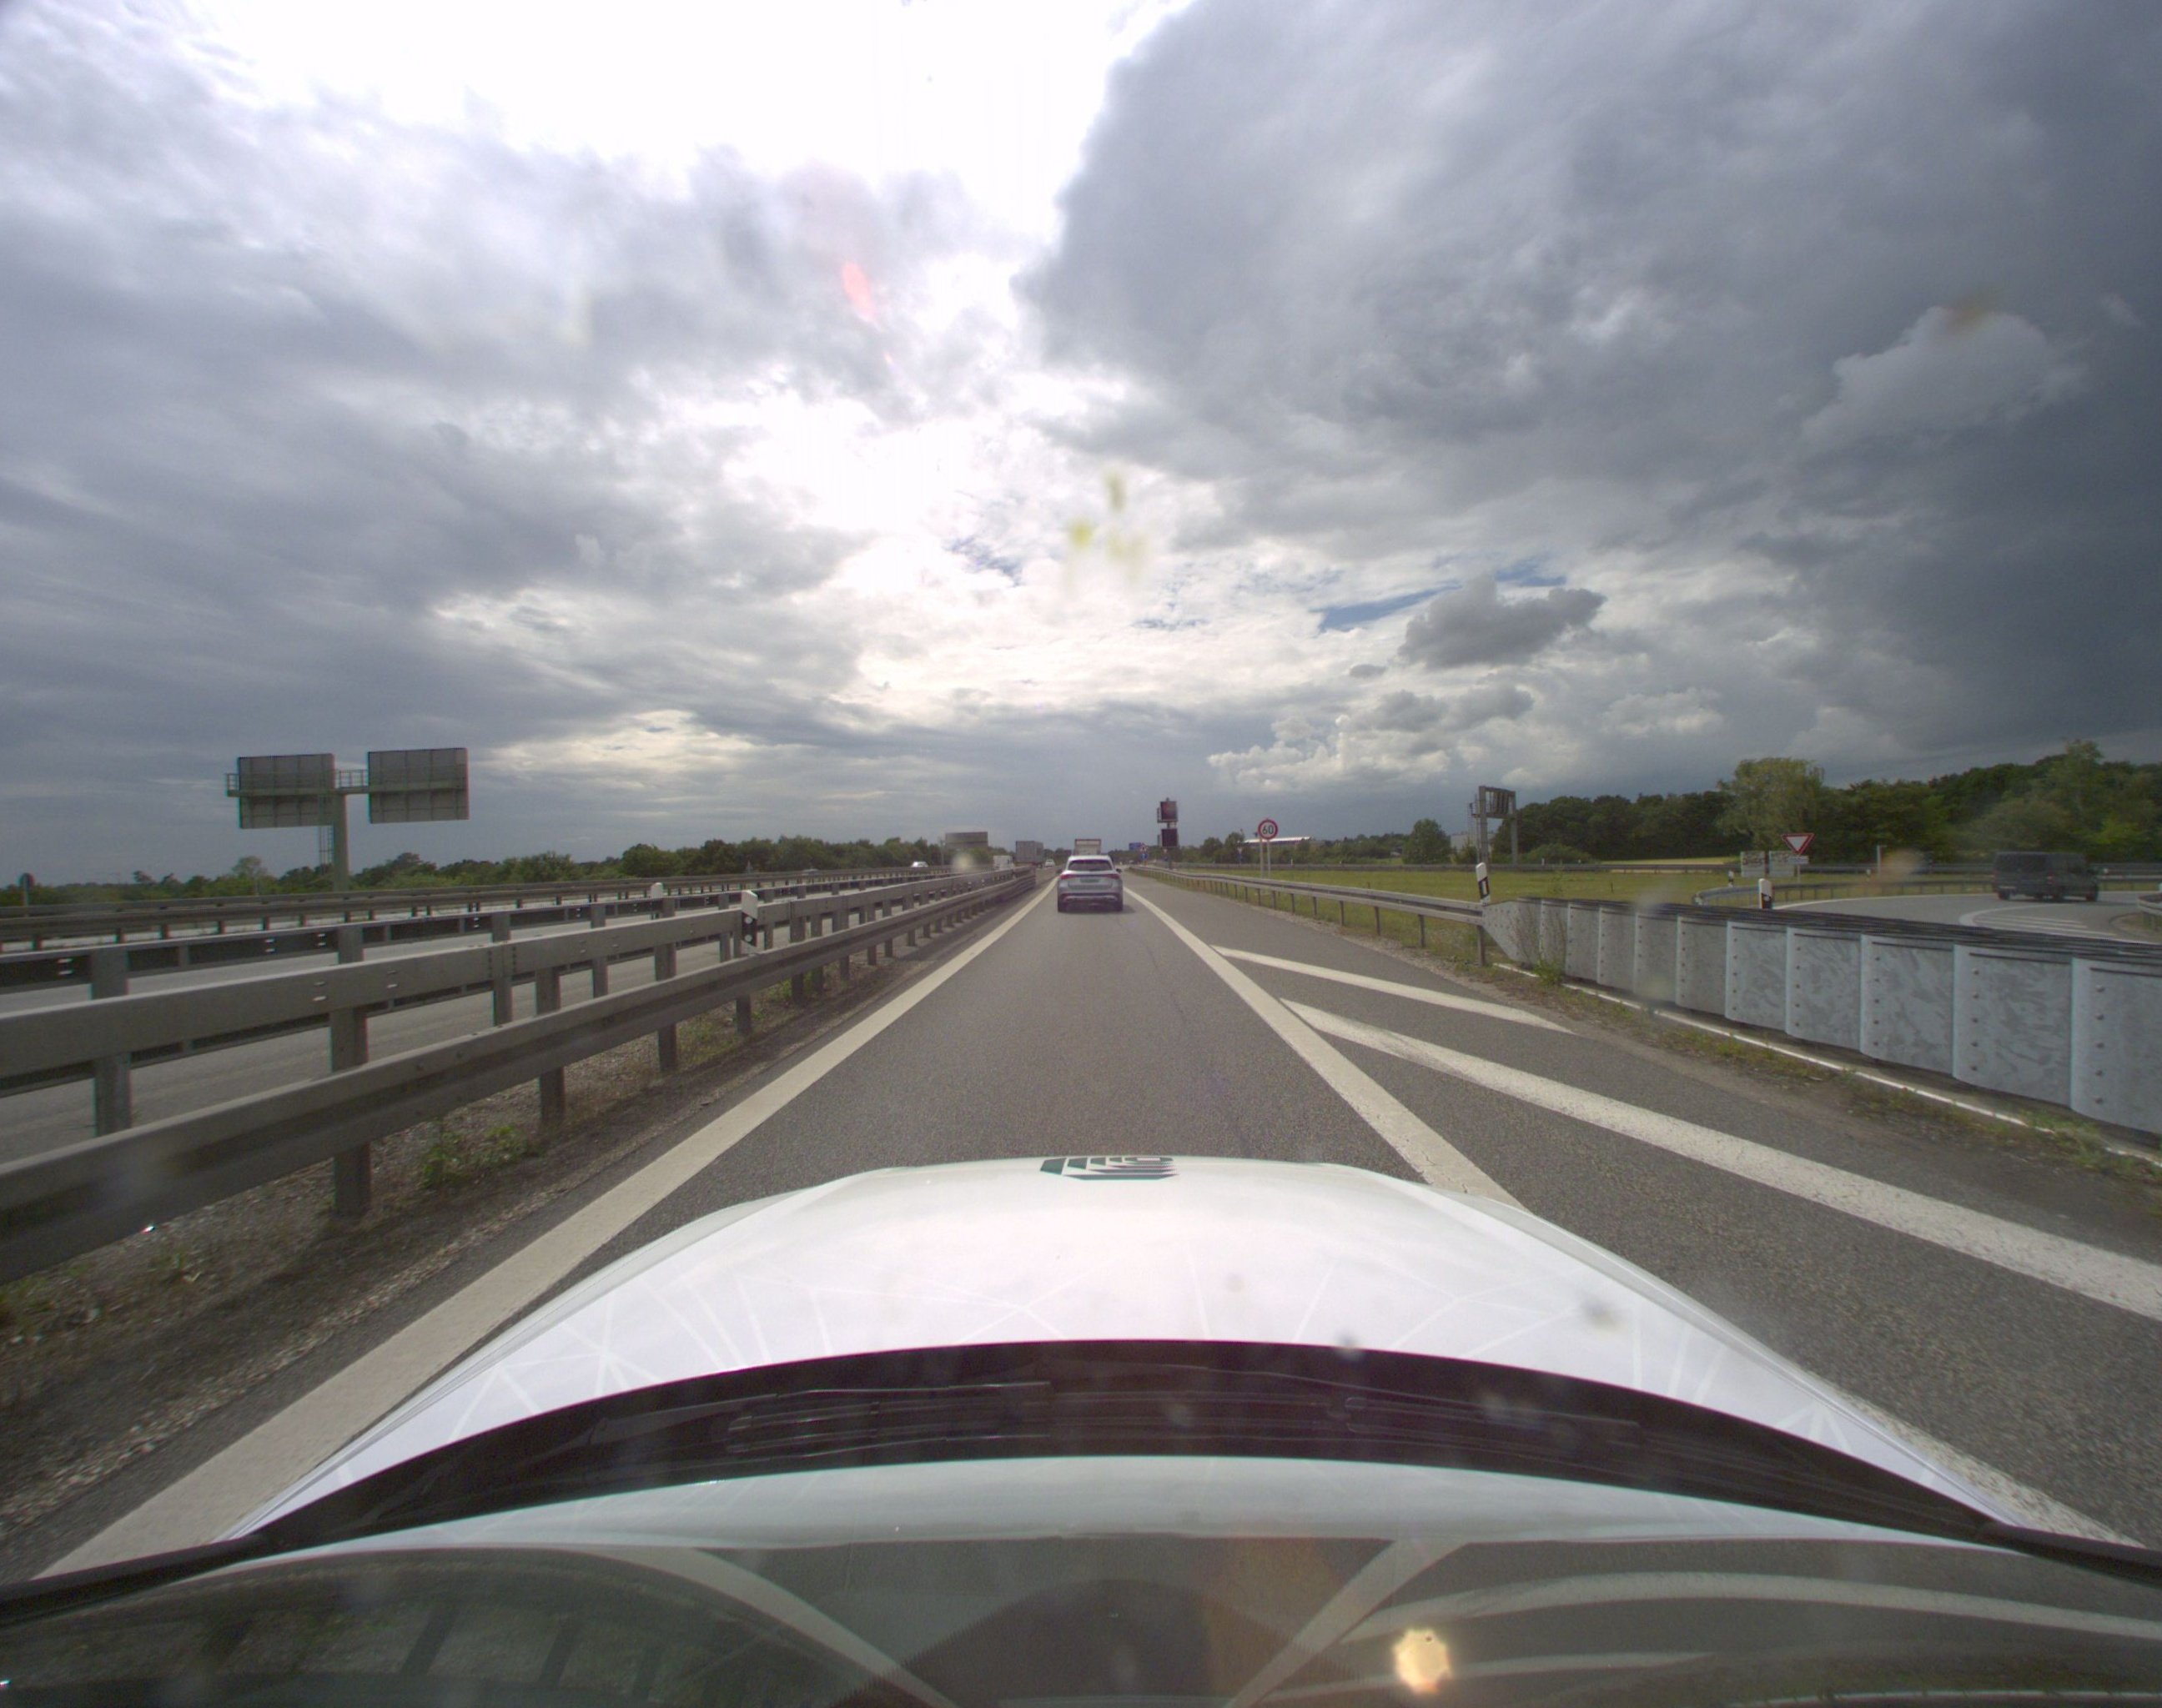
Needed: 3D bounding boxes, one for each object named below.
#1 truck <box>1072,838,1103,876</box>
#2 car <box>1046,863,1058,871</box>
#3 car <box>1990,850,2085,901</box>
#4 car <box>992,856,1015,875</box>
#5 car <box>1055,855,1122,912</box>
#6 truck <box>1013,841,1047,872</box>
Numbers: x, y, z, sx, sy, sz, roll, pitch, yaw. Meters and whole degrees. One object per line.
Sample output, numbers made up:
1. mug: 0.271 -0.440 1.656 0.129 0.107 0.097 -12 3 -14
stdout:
1. truck: 0.625 0.326 72.338 2.559 3.126 8.636 0 -1 1
2. car: -5.390 2.372 151.565 1.689 1.288 4.004 0 1 3
3. car: 45.676 0.971 38.886 4.658 2.262 1.896 -1 1 -27
4. car: -8.725 1.277 92.204 1.985 2.013 4.378 0 1 3
5. car: 0.253 0.820 24.471 1.813 1.514 4.001 0 1 1
6. truck: -7.101 0.266 115.382 3.171 4.018 16.085 0 1 2
